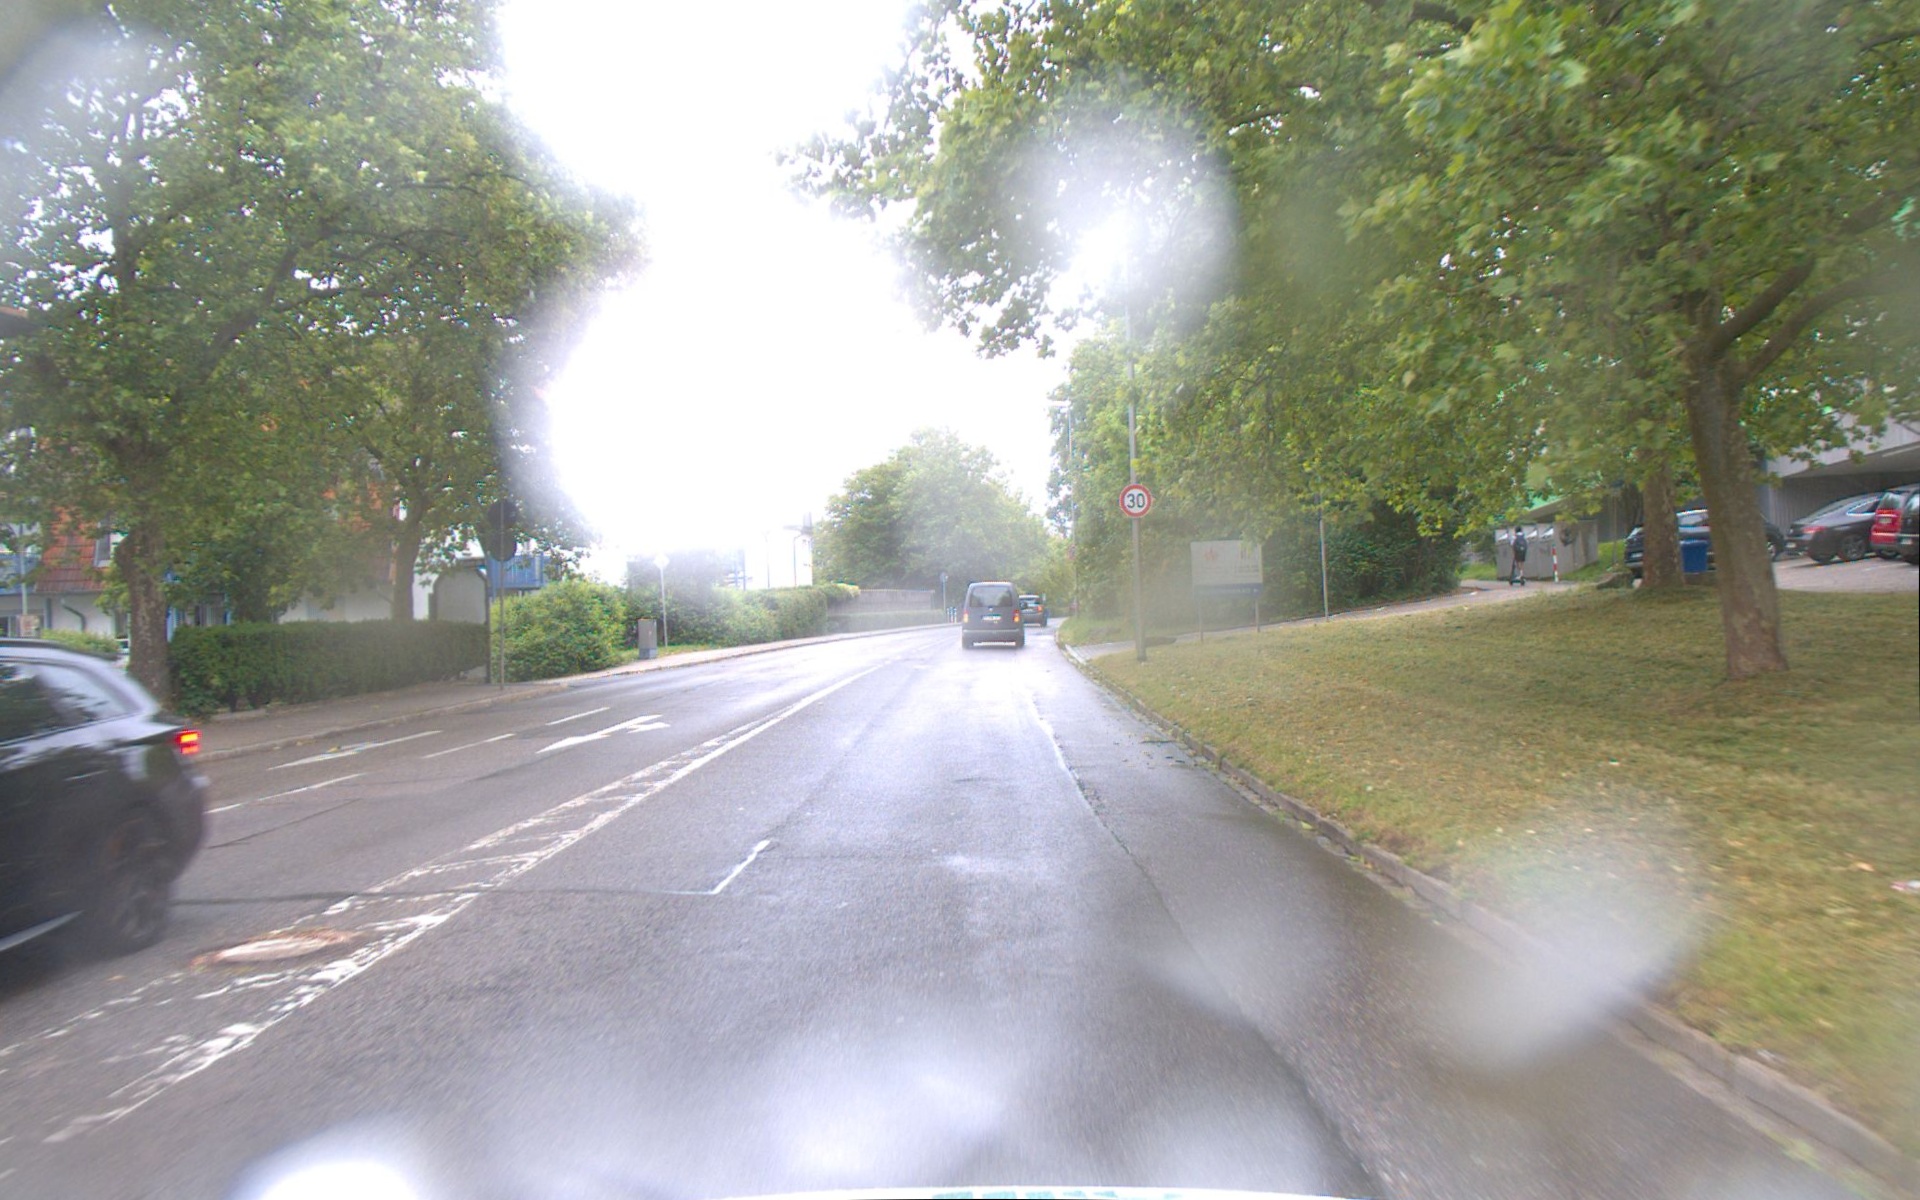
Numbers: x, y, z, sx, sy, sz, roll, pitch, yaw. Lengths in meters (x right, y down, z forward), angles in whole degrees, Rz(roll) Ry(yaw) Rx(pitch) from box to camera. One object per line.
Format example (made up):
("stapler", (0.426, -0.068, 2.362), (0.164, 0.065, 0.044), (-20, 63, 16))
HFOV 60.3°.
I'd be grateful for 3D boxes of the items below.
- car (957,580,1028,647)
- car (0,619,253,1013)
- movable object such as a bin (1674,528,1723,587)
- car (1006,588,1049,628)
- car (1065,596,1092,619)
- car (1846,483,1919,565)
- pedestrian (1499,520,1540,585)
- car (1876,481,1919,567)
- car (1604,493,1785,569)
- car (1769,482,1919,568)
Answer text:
("car", (0.894, 0.342, 47.636), (1.953, 1.825, 4.000), (0, 1, 0))
("car", (-4.678, 0.902, 6.159), (1.952, 1.454, 4.390), (-3, 1, 3))
("movable object such as a bin", (14.594, -0.827, 32.689), (0.655, 1.140, 0.662), (0, 0, -4))
("car", (3.257, 0.360, 79.108), (1.909, 1.780, 4.002), (-3, 1, 3))
("car", (9.151, 0.563, 127.875), (1.952, 1.780, 4.001), (0, 0, 1))
("car", (21.597, -1.694, 35.647), (3.903, 1.691, 1.961), (-3, 1, 6))
("pedestrian", (15.718, -1.332, 46.490), (0.651, 1.780, 0.846), (-3, 0, -16))
("car", (20.951, -1.609, 33.271), (3.902, 1.668, 2.002), (-3, 0, 8))
("car", (19.586, -1.826, 44.193), (3.910, 1.780, 1.998), (-3, 0, -6))
("car", (21.065, -1.733, 38.046), (3.902, 1.780, 2.002), (-3, 0, 8))
